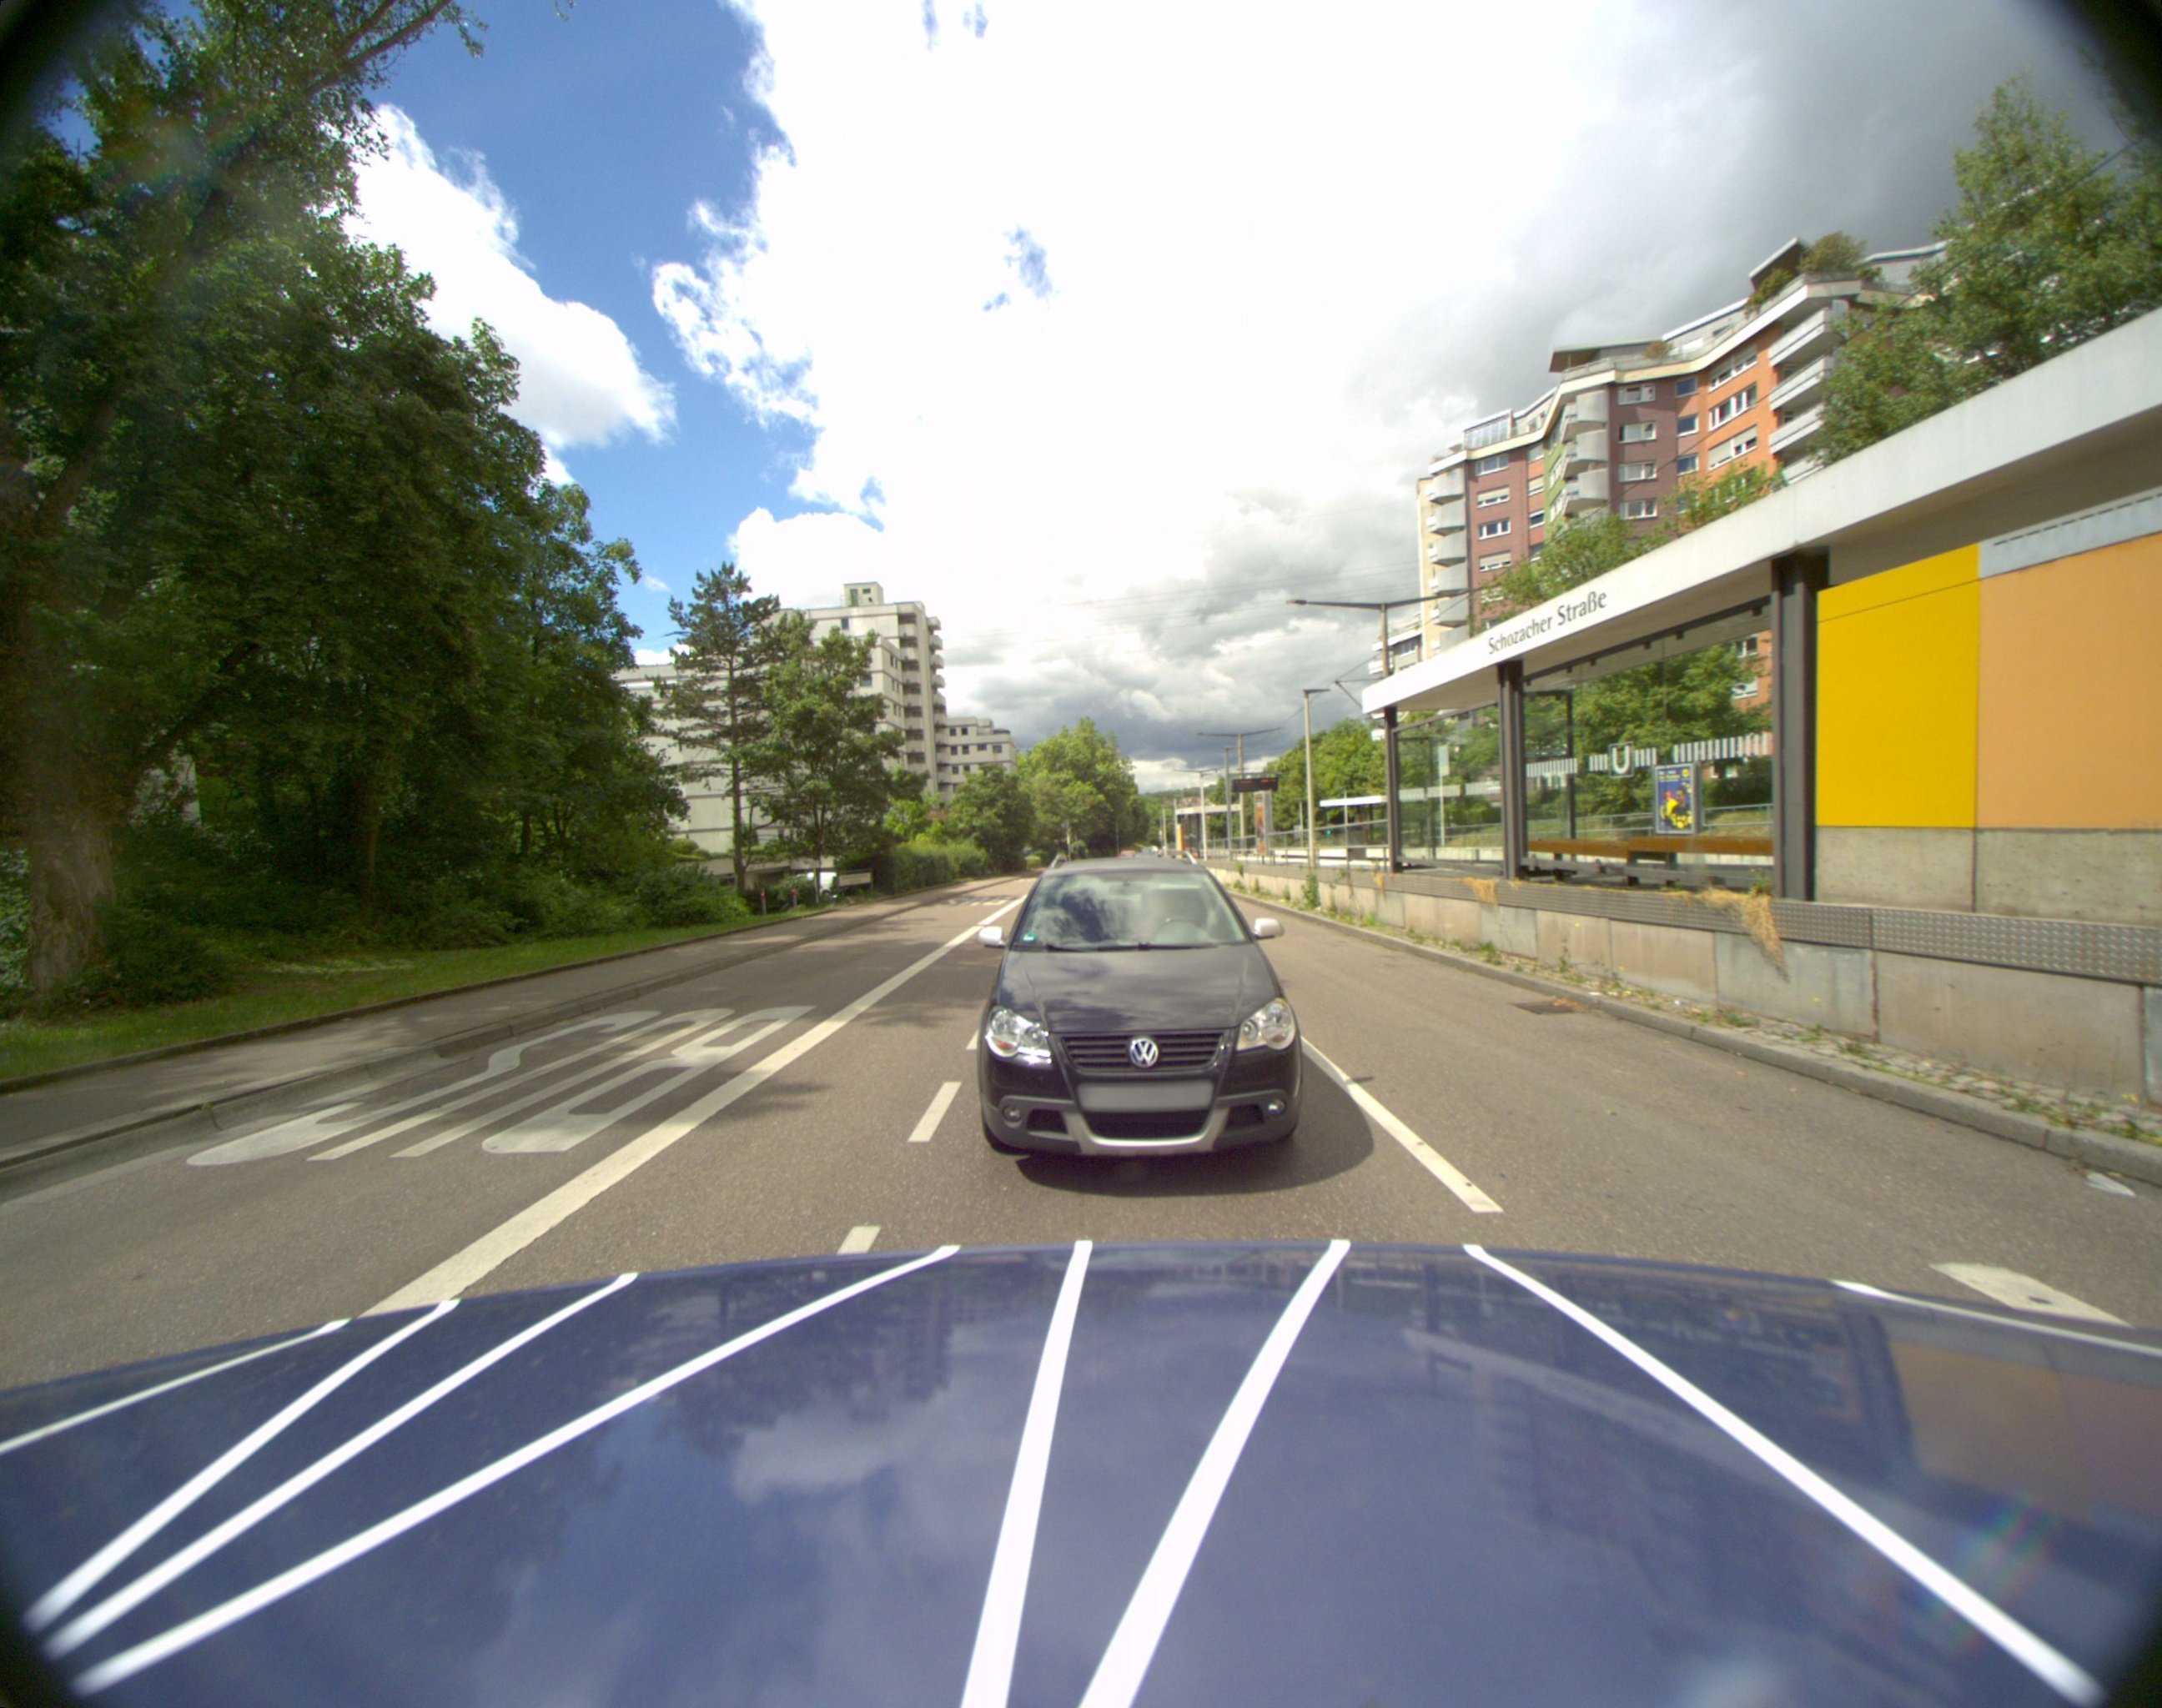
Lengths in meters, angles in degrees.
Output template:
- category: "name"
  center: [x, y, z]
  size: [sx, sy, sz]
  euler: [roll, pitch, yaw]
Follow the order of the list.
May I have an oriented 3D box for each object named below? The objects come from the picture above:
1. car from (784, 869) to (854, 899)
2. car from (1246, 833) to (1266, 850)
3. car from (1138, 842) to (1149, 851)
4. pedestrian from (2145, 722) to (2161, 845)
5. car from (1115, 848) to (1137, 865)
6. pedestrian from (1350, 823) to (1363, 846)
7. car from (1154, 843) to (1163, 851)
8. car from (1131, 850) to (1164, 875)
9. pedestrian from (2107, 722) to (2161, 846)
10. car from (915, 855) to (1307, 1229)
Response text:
- category: "car"
  center: [-19.903, 2.243, 57.793]
  size: [4.543, 2.002, 2.001]
  euler: [-2, 1, 7]
- category: "car"
  center: [22.138, -1.582, 96.142]
  size: [1.737, 2.002, 4.000]
  euler: [-2, 1, 2]
- category: "car"
  center: [9.693, -1.182, 117.662]
  size: [1.643, 1.395, 3.708]
  euler: [-2, 1, 4]
- category: "pedestrian"
  center: [15.332, -0.994, 10.576]
  size: [0.387, 1.703, 0.550]
  euler: [-3, 2, -43]
- category: "car"
  center: [4.012, 0.232, 67.602]
  size: [1.821, 1.377, 4.065]
  euler: [-2, 1, 2]
- category: "pedestrian"
  center: [15.989, -1.132, 44.100]
  size: [0.536, 1.270, 0.562]
  euler: [-2, 1, 2]
- category: "car"
  center: [17.663, -1.557, 173.189]
  size: [1.801, 1.698, 4.001]
  euler: [-2, 1, 8]
- category: "car"
  center: [4.054, 0.505, 46.938]
  size: [1.821, 1.377, 4.065]
  euler: [-2, 1, 2]
- category: "pedestrian"
  center: [15.052, -0.982, 10.855]
  size: [0.354, 1.703, 0.426]
  euler: [-3, 2, -41]
- category: "car"
  center: [0.219, 0.830, 5.295]
  size: [1.642, 1.521, 4.000]
  euler: [-2, 1, 3]
